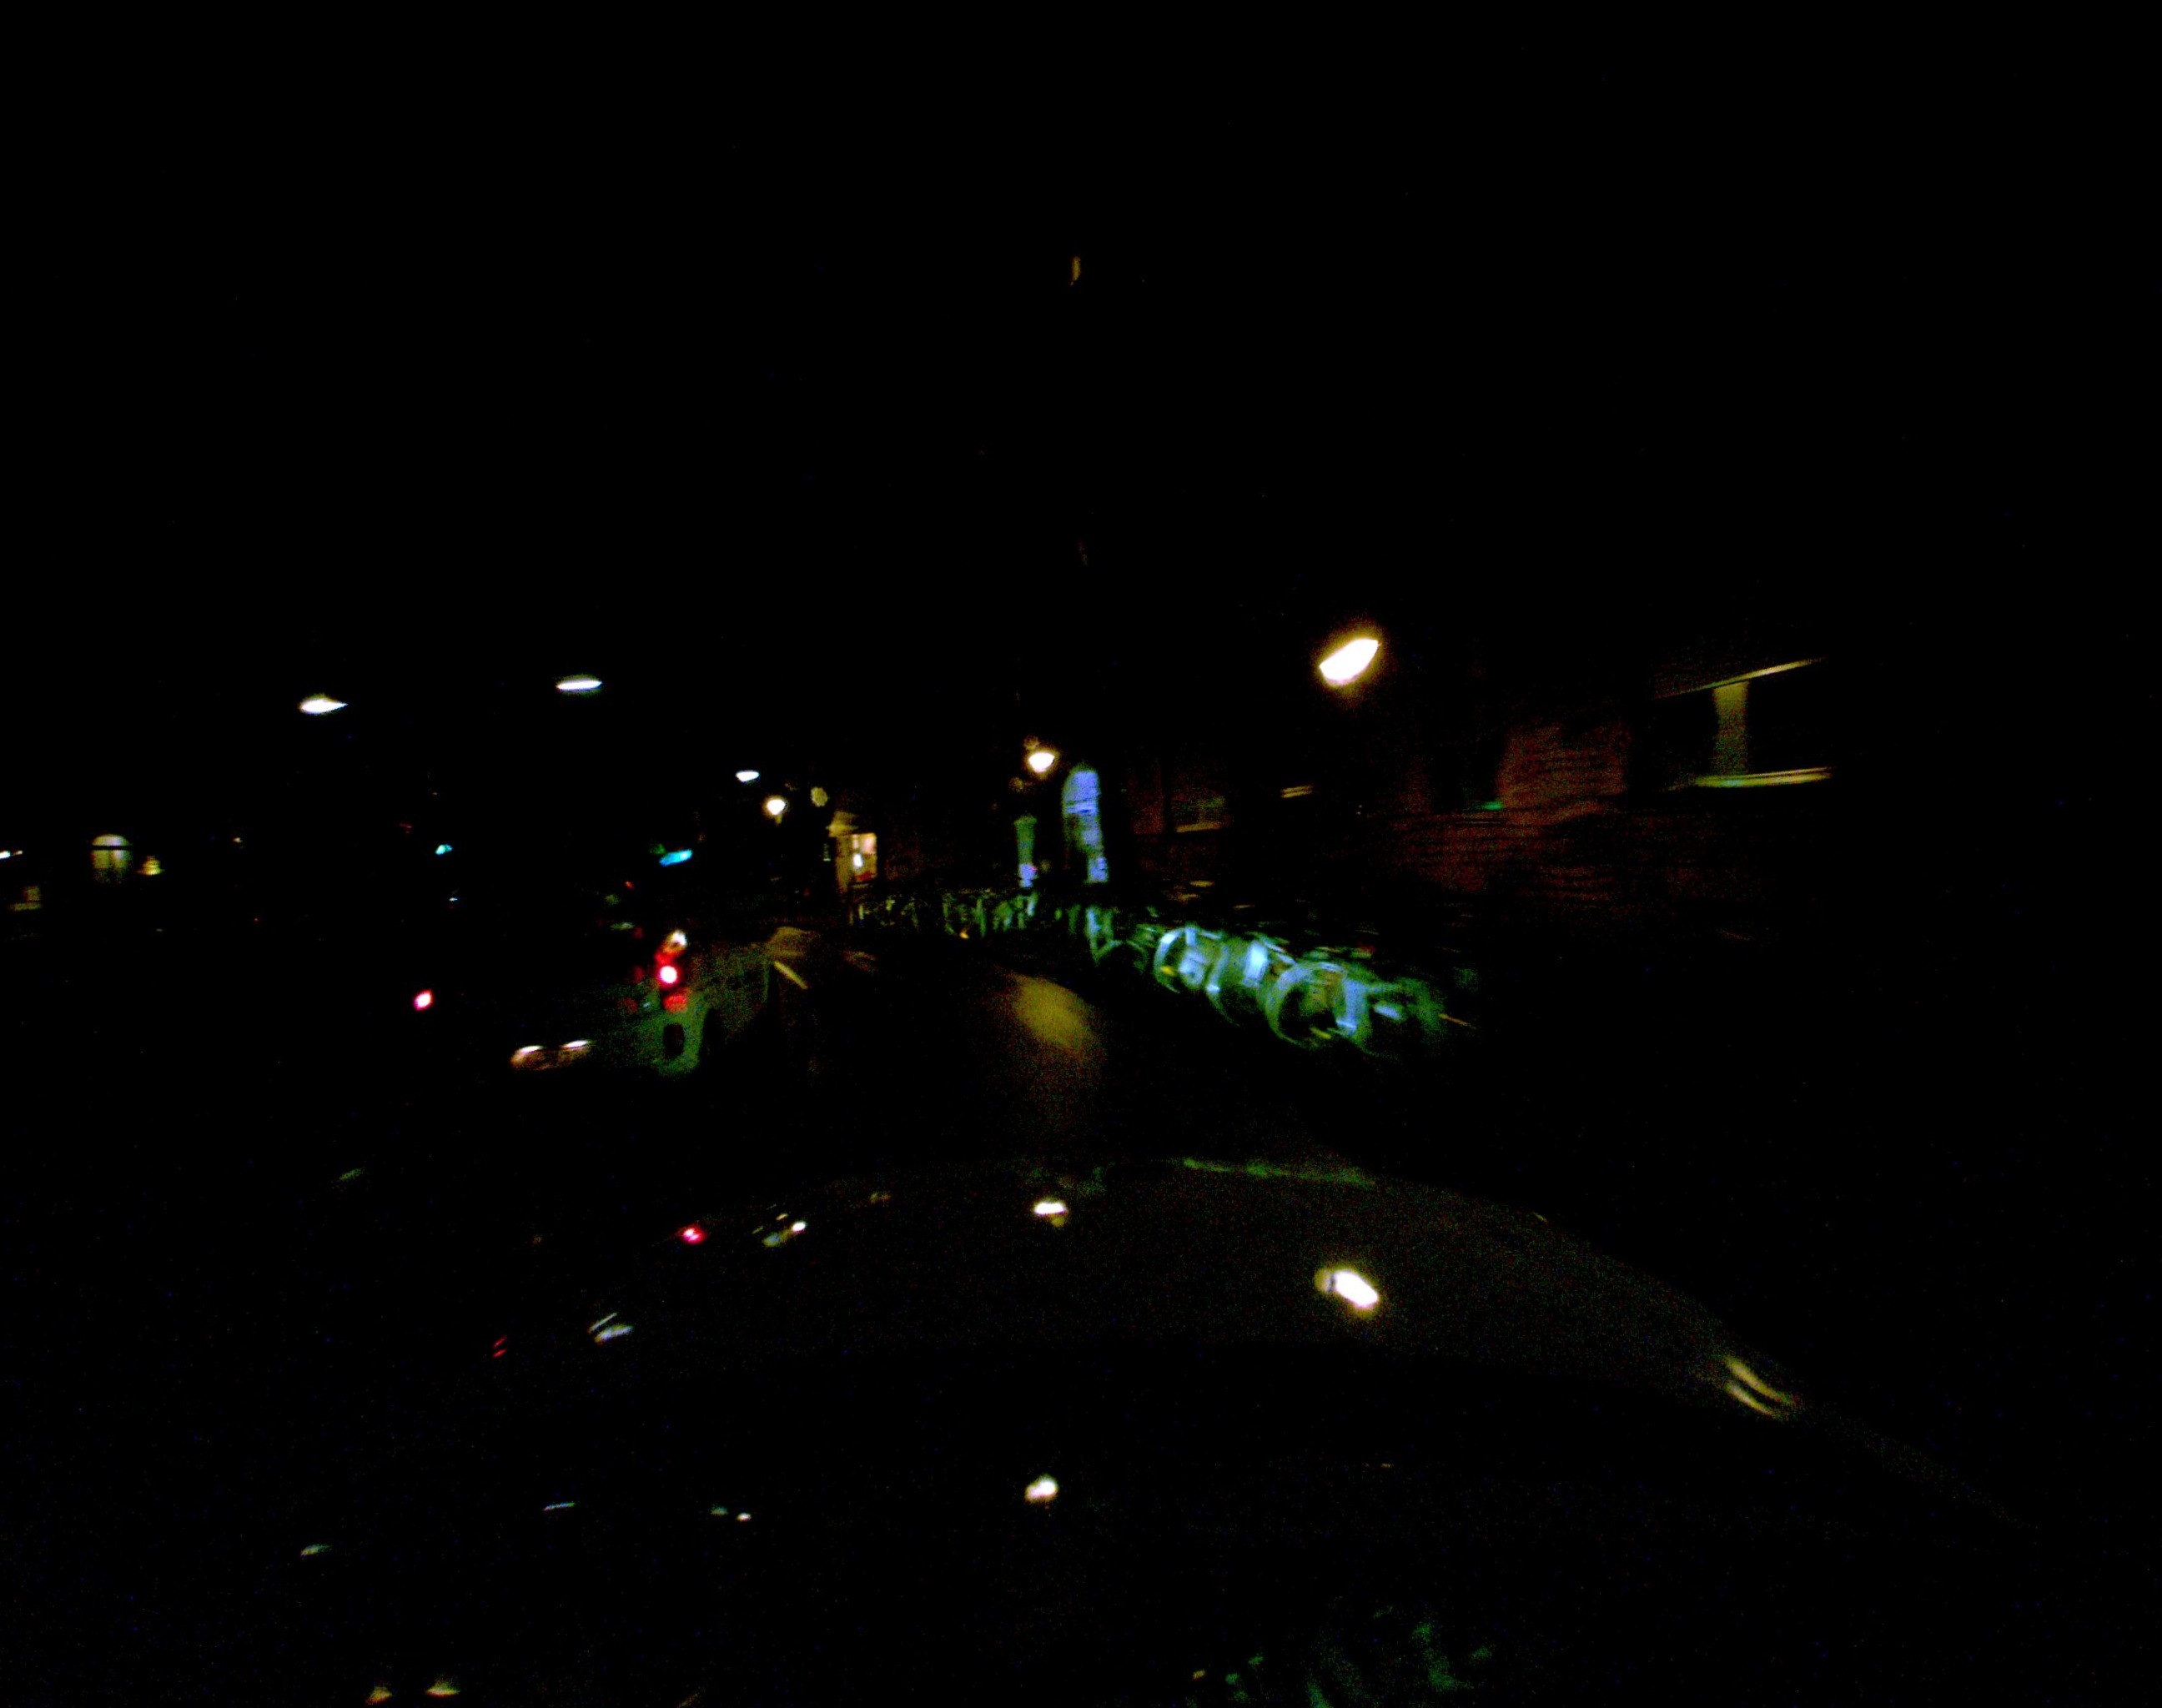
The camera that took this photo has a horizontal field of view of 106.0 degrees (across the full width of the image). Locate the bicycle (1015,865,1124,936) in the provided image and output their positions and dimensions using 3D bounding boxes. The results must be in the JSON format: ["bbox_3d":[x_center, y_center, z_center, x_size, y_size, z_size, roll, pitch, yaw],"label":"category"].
[{"bbox_3d":[-0.182,0.804,14.576,1.834,1.087,0.713,-4,0,-37],"label":"bicycle"}]

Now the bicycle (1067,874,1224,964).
[{"bbox_3d":[0.860,0.853,11.034,1.968,1.006,0.640,-4,0,-9],"label":"bicycle"}]

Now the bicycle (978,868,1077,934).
[{"bbox_3d":[-0.971,0.856,15.321,0.634,1.053,1.988,-4,0,37],"label":"bicycle"}]

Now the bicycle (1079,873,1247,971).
[{"bbox_3d":[1.025,0.832,10.352,1.968,1.033,0.640,-4,0,-9],"label":"bicycle"}]

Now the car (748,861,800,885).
[{"bbox_3d":[-26.171,1.589,69.691,1.984,1.825,5.317,0,1,5],"label":"car"}]

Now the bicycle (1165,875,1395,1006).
[{"bbox_3d":[1.852,0.775,7.684,1.968,1.006,0.640,-4,0,-9],"label":"bicycle"}]

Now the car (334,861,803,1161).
[{"bbox_3d":[-3.538,0.895,6.518,1.920,1.515,3.584,-4,1,-11],"label":"car"}]

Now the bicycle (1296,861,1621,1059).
[{"bbox_3d":[2.590,0.675,5.675,1.926,1.115,0.728,-4,0,-9],"label":"bicycle"}]

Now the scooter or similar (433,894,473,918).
[{"bbox_3d":[-29.988,2.474,38.908,0.635,1.052,1.375,-1,0,16],"label":"scooter or similar"}]

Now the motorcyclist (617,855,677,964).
[{"bbox_3d":[-7.149,0.894,13.416,0.795,1.695,0.812,-2,-1,-31],"label":"motorcyclist"}]

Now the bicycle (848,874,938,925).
[{"bbox_3d":[-4.548,1.081,19.755,1.984,1.034,0.635,-4,0,-38],"label":"bicycle"}]

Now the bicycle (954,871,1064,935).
[{"bbox_3d":[-1.372,0.905,15.353,1.968,1.006,0.640,-4,0,-9],"label":"bicycle"}]

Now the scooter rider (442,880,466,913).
[{"bbox_3d":[-29.986,2.024,38.940,0.635,1.573,0.655,-1,-1,16],"label":"scooter rider"}]

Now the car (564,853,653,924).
[{"bbox_3d":[-18.341,1.256,31.893,2.226,2.441,5.343,-3,0,-23],"label":"car"}]

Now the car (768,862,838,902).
[{"bbox_3d":[-13.019,1.288,38.363,1.640,1.524,3.585,-7,0,5],"label":"car"}]

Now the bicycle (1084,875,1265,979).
[{"bbox_3d":[1.086,0.830,9.607,1.968,1.006,0.640,-4,0,-9],"label":"bicycle"}]

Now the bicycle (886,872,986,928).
[{"bbox_3d":[-3.103,0.967,17.542,1.984,1.006,0.635,-4,0,-38],"label":"bicycle"}]

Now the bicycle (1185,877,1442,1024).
[{"bbox_3d":[1.967,0.781,6.979,1.968,1.006,0.686,-4,0,-9],"label":"bicycle"}]

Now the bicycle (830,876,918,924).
[{"bbox_3d":[-5.160,1.126,20.332,1.984,1.006,0.635,-4,0,-38],"label":"bicycle"}]

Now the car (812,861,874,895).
[{"bbox_3d":[-12.663,1.259,43.574,1.637,1.441,4.061,-7,0,5],"label":"car"}]

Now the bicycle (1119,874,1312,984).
[{"bbox_3d":[1.471,0.800,9.022,1.968,1.006,0.640,-4,0,-9],"label":"bicycle"}]

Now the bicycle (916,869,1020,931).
[{"bbox_3d":[-2.264,0.910,16.484,1.984,1.065,0.635,-4,0,-38],"label":"bicycle"}]

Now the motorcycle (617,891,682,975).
[{"bbox_3d":[-7.175,1.253,13.484,0.794,1.213,2.228,-2,-1,-31],"label":"motorcycle"}]

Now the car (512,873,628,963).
[{"bbox_3d":[-11.570,1.357,18.348,1.763,1.739,3.755,-1,-1,-39],"label":"car"}]

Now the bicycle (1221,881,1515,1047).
[{"bbox_3d":[2.126,0.774,6.137,1.926,0.987,0.728,-4,0,-9],"label":"bicycle"}]

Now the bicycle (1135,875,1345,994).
[{"bbox_3d":[1.617,0.791,8.389,1.968,1.006,0.640,-4,0,-9],"label":"bicycle"}]

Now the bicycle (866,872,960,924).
[{"bbox_3d":[-3.849,0.987,18.791,1.984,1.006,0.635,-4,0,-38],"label":"bicycle"}]
